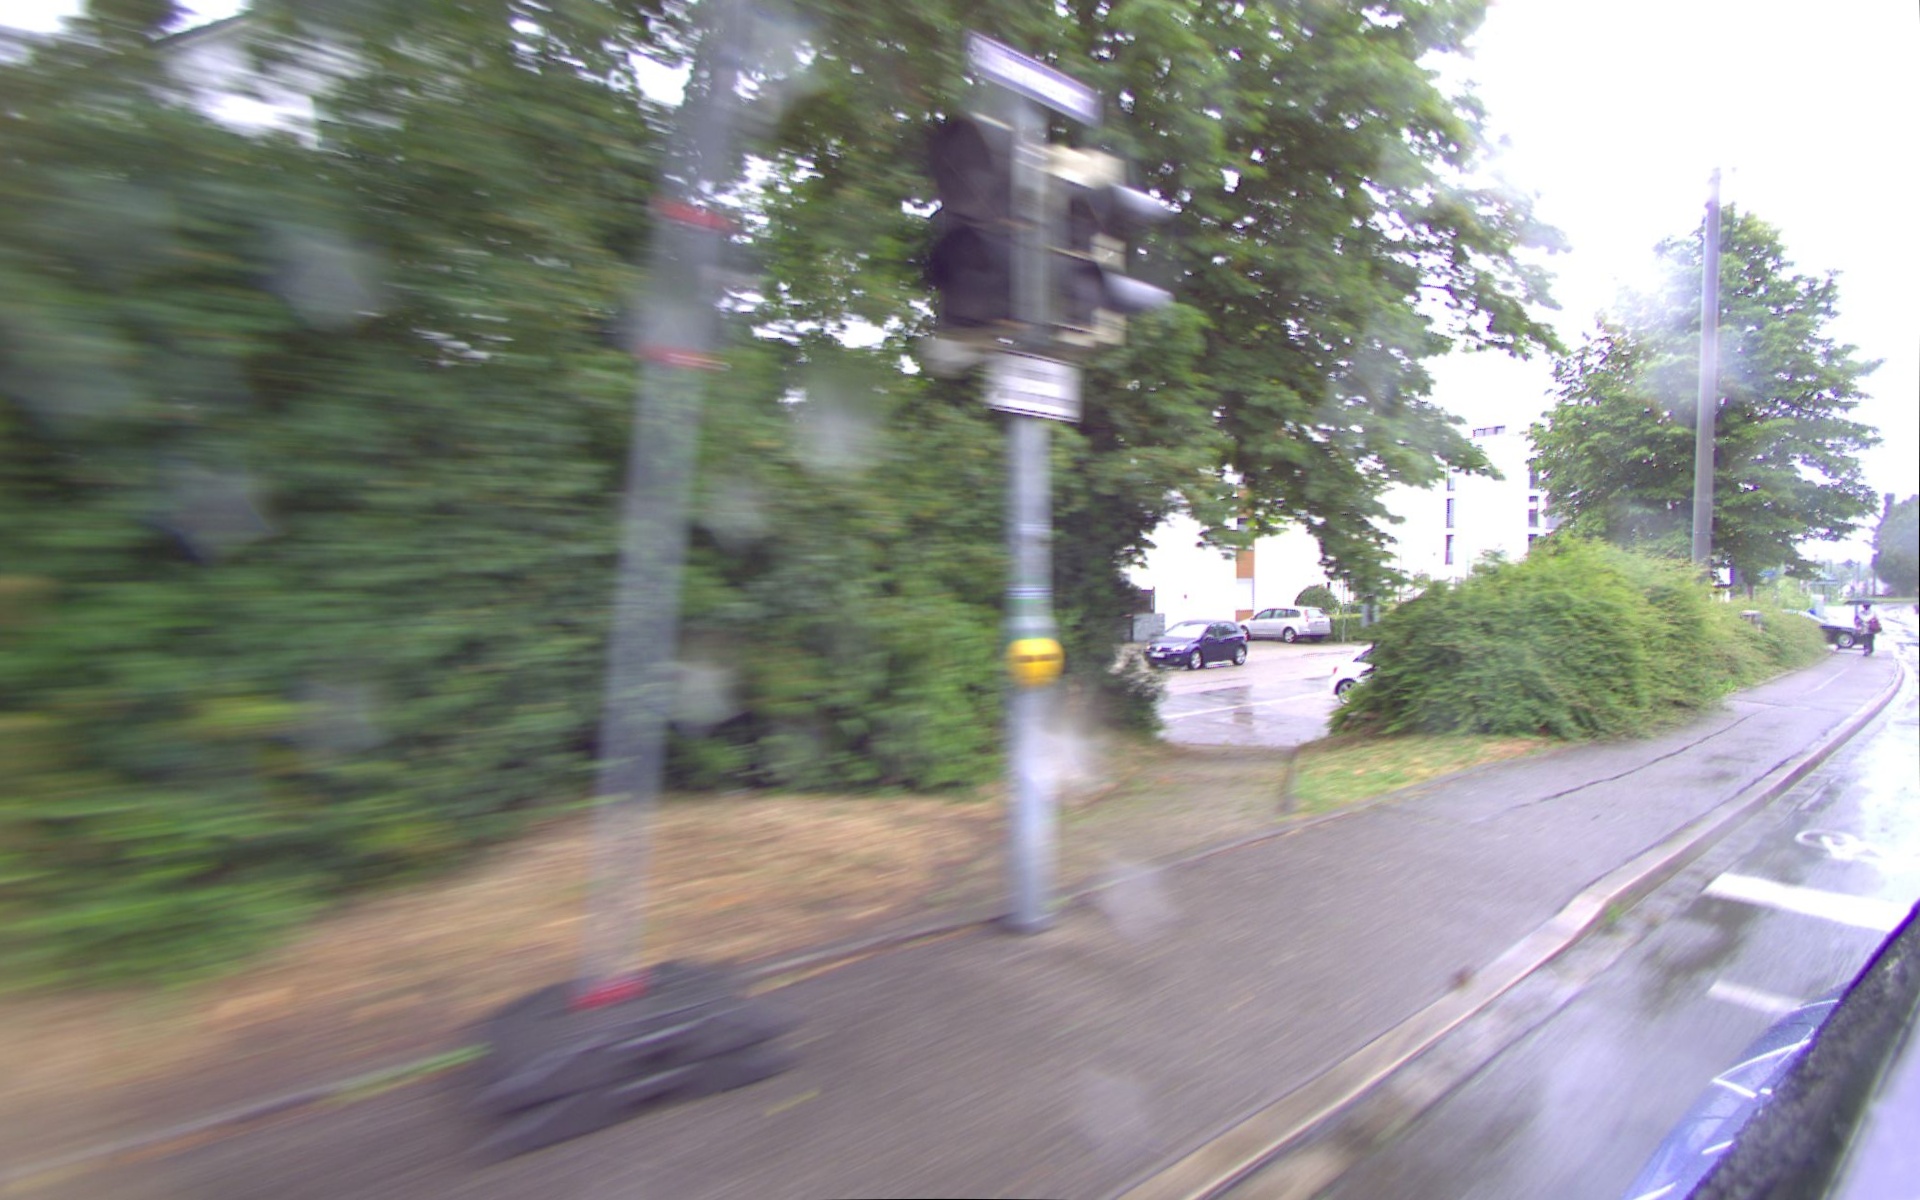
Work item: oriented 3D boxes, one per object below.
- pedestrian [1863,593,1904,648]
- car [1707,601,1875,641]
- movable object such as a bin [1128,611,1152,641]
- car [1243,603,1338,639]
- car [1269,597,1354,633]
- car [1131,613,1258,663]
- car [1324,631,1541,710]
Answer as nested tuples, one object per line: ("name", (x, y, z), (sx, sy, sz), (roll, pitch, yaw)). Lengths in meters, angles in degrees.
("pedestrian", (26.976, 0.589, 29.559), (0.858, 1.545, 0.769), (1, 2, -44))
("car", (31.857, 0.828, 38.900), (1.778, 1.432, 4.799), (-1, -1, -44))
("movable object such as a bin", (6.922, 1.003, 38.987), (0.592, 1.143, 0.739), (1, -2, -28))
("car", (13.842, 0.869, 42.591), (1.633, 1.428, 3.666), (0, -1, -28))
("car", (18.485, 0.774, 53.391), (1.730, 1.772, 4.000), (-2, 1, -34))
("car", (7.523, 1.174, 32.310), (3.927, 1.483, 1.922), (1, -2, -39))
("car", (10.543, 1.498, 22.763), (1.966, 1.445, 3.992), (-1, 1, -42))
